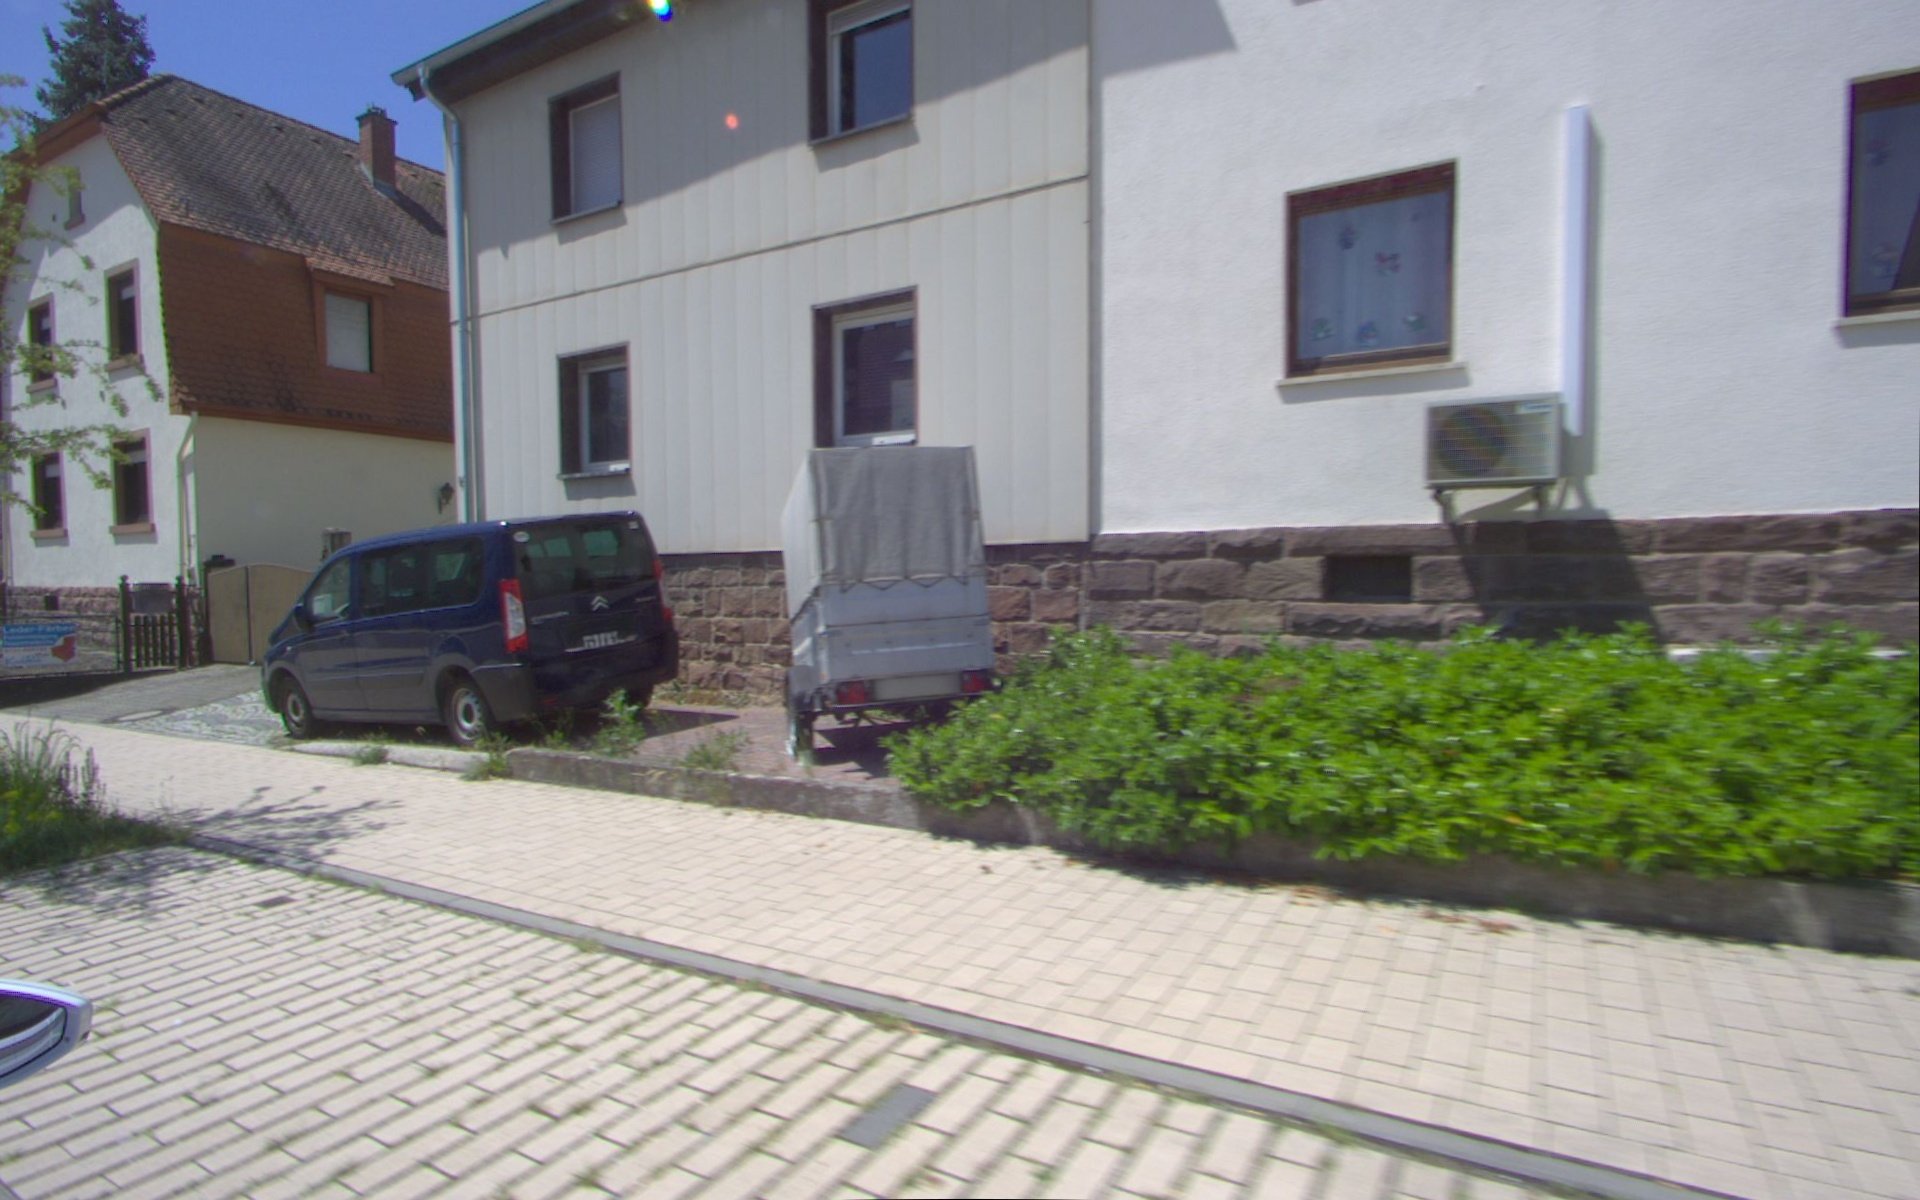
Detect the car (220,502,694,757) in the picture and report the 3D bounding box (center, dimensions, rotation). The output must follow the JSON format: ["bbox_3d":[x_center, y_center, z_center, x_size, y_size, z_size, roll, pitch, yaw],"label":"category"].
[{"bbox_3d":[-5.024,0.204,9.820,4.705,1.999,1.847,-1,4,32],"label":"car"}]

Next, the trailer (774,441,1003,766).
[{"bbox_3d":[-0.645,0.039,7.572,1.300,2.040,2.270,0,0,-16],"label":"trailer"}]
